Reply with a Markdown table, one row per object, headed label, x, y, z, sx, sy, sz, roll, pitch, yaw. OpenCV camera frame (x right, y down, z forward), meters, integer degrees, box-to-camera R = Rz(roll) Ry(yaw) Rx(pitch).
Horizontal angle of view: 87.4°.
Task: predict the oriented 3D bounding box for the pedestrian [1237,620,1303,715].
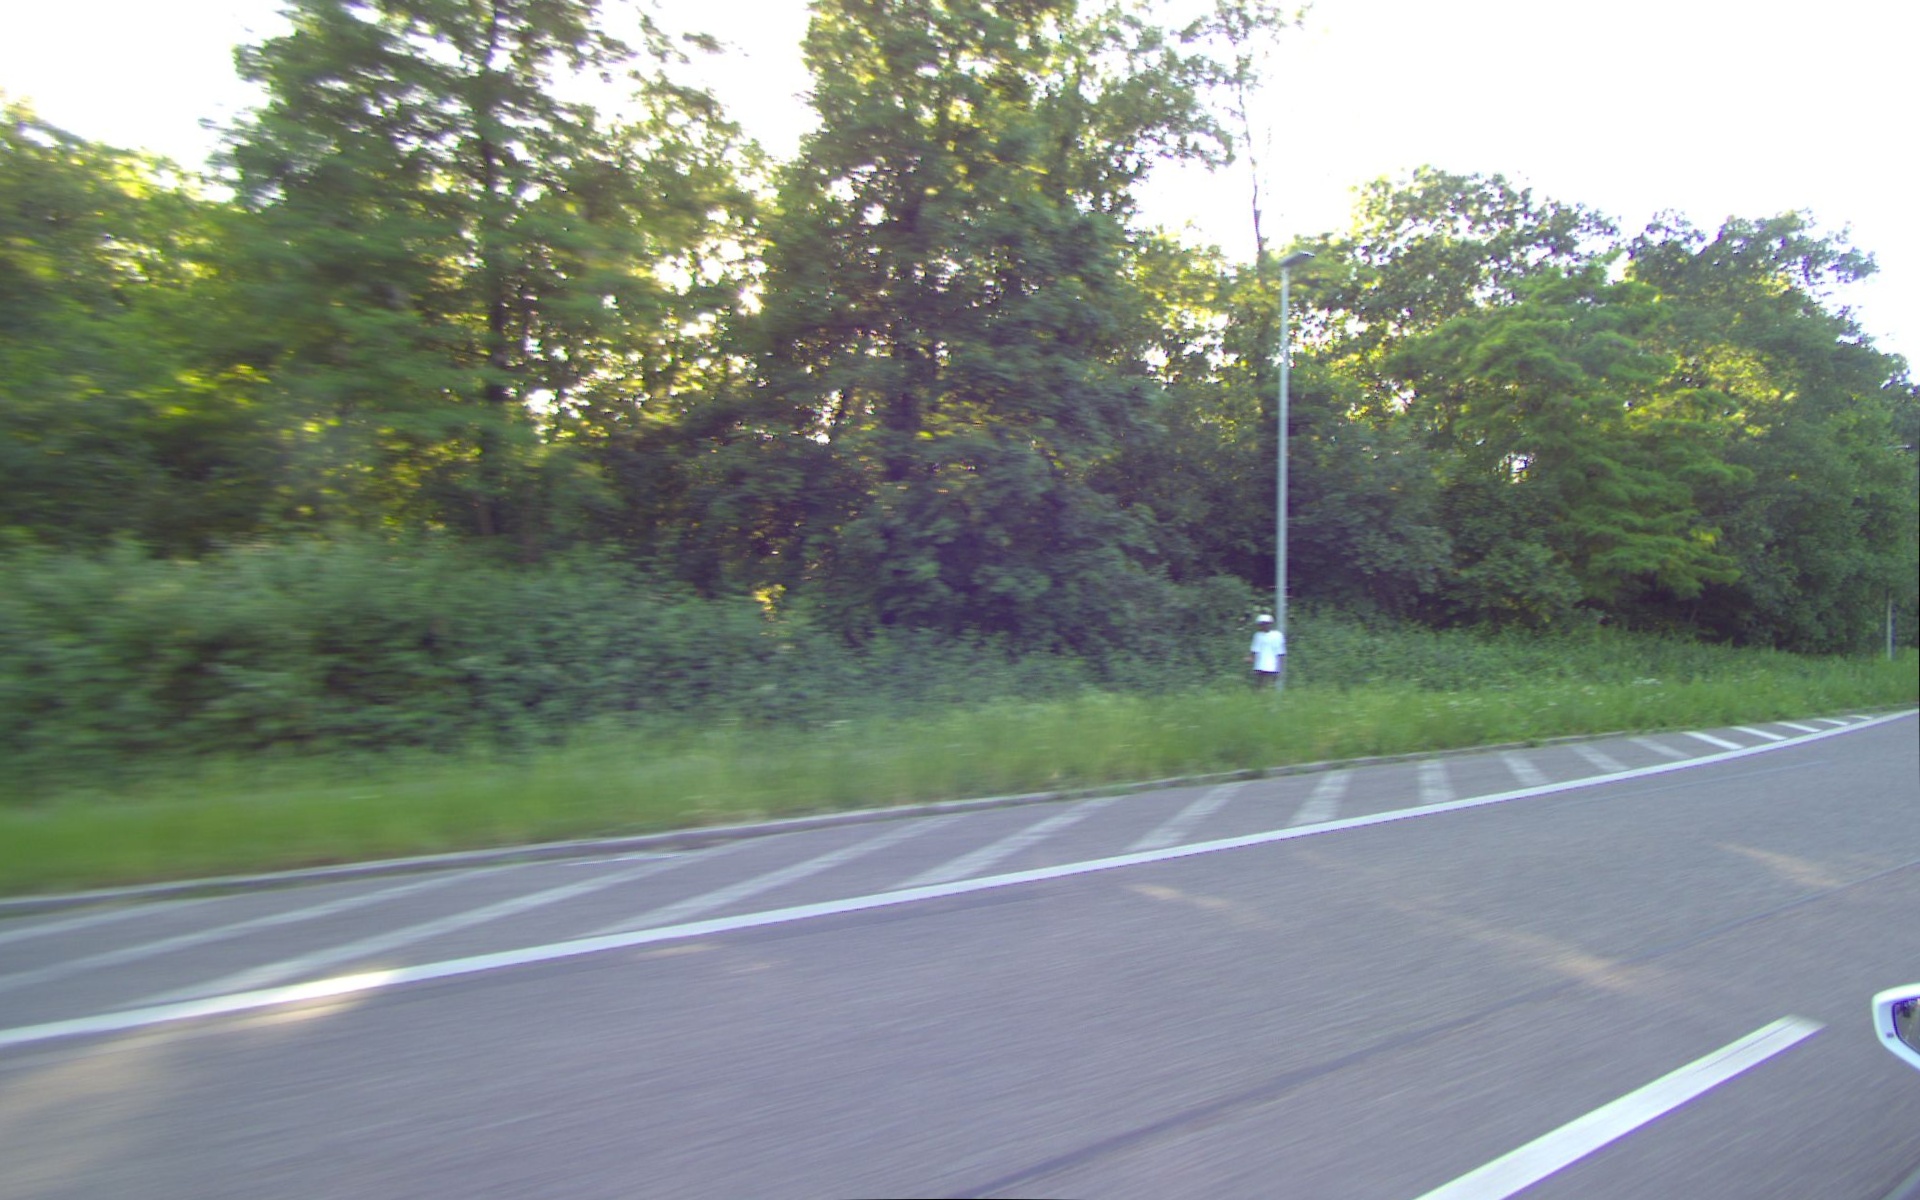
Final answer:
| label | x | y | z | sx | sy | sz | roll | pitch | yaw |
| --- | --- | --- | --- | --- | --- | --- | --- | --- | --- |
| pedestrian | 5.304 | 1.132 | 17.191 | 0.816 | 1.585 | 0.708 | 0 | -2 | -29 |
